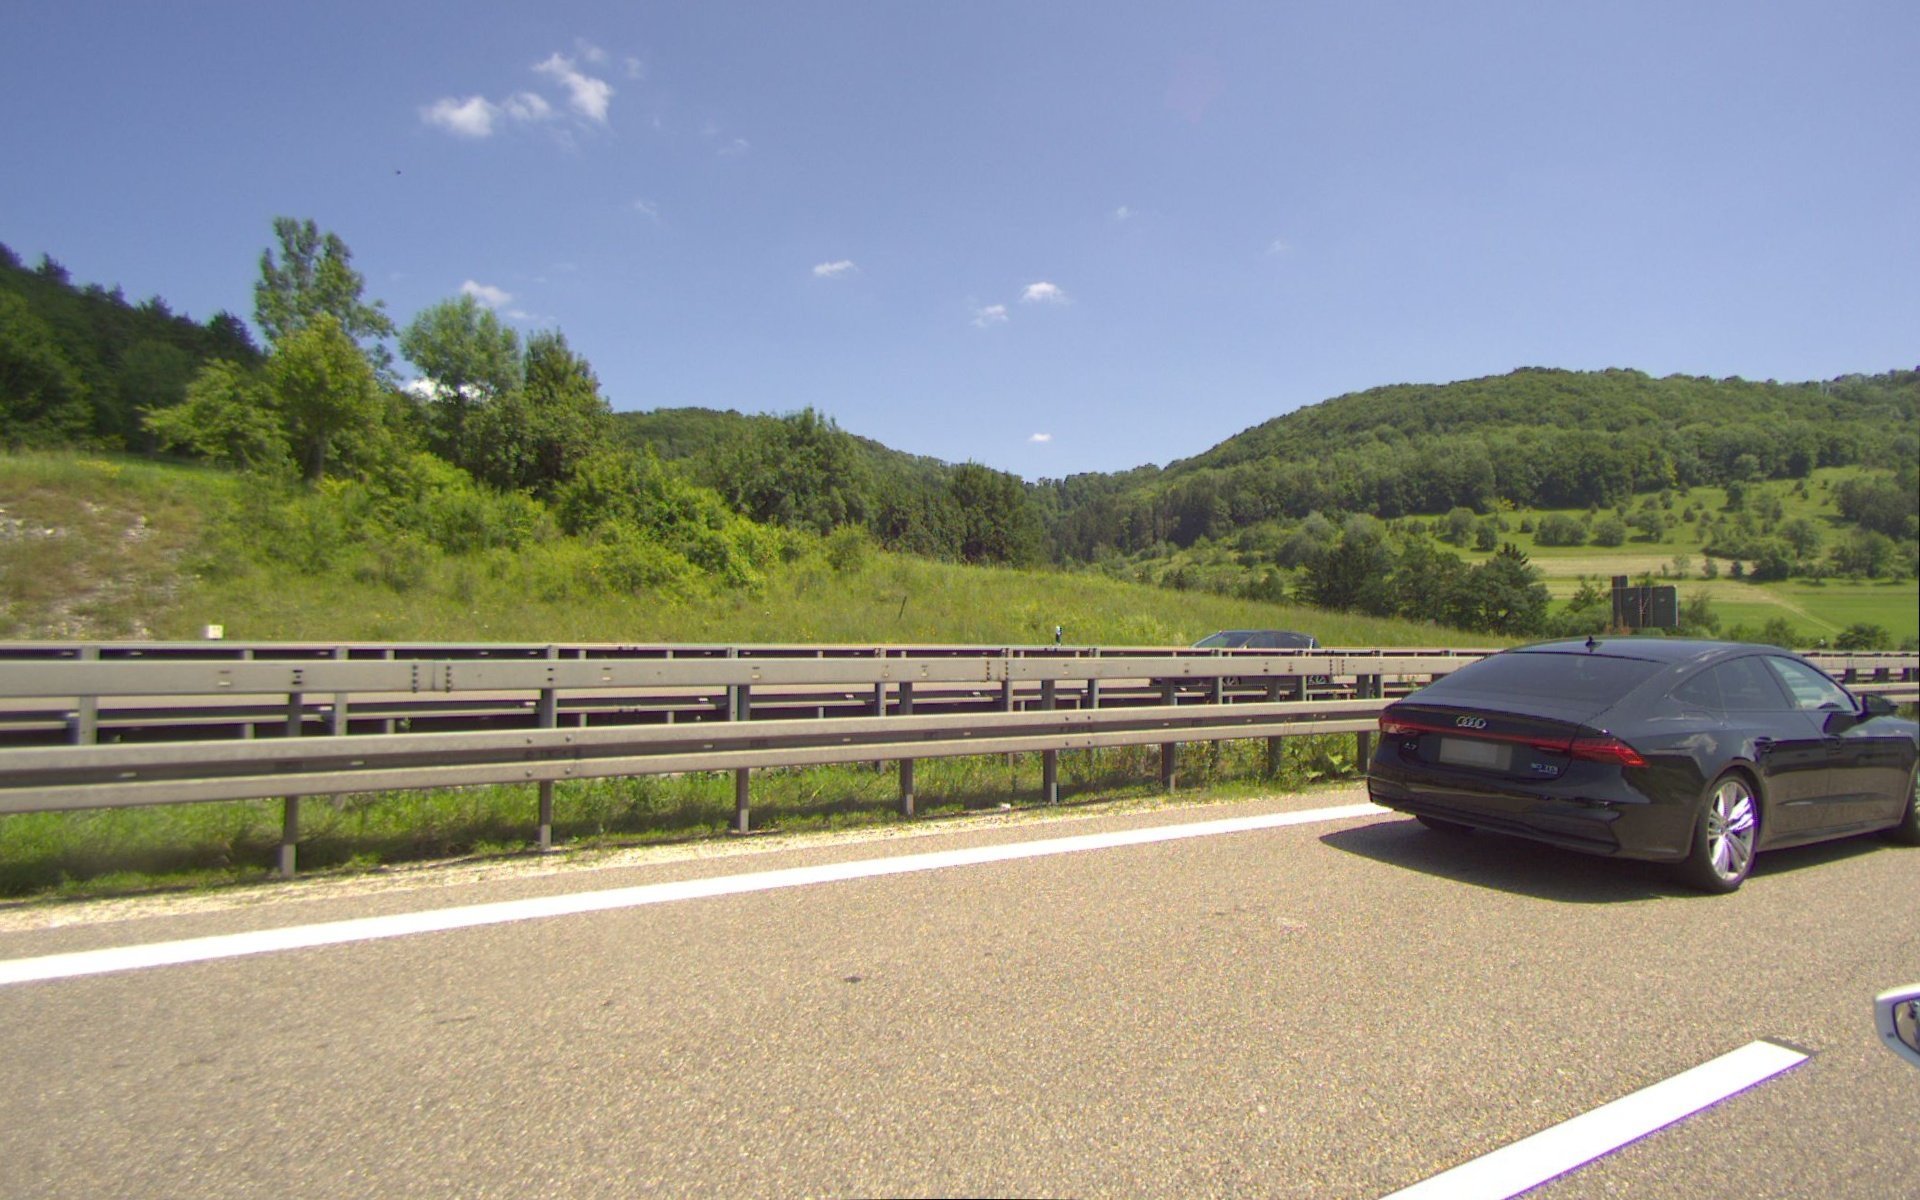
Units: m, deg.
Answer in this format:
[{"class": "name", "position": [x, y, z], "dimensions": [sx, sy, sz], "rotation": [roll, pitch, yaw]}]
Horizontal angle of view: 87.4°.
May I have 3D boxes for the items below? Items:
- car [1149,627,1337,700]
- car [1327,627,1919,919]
[{"class": "car", "position": [5.934, 1.288, 20.986], "dimensions": [3.697, 1.386, 1.683], "rotation": [2, -1, -30]}, {"class": "car", "position": [4.951, 0.943, 6.980], "dimensions": [4.911, 1.409, 1.792], "rotation": [2, -1, -30]}]
